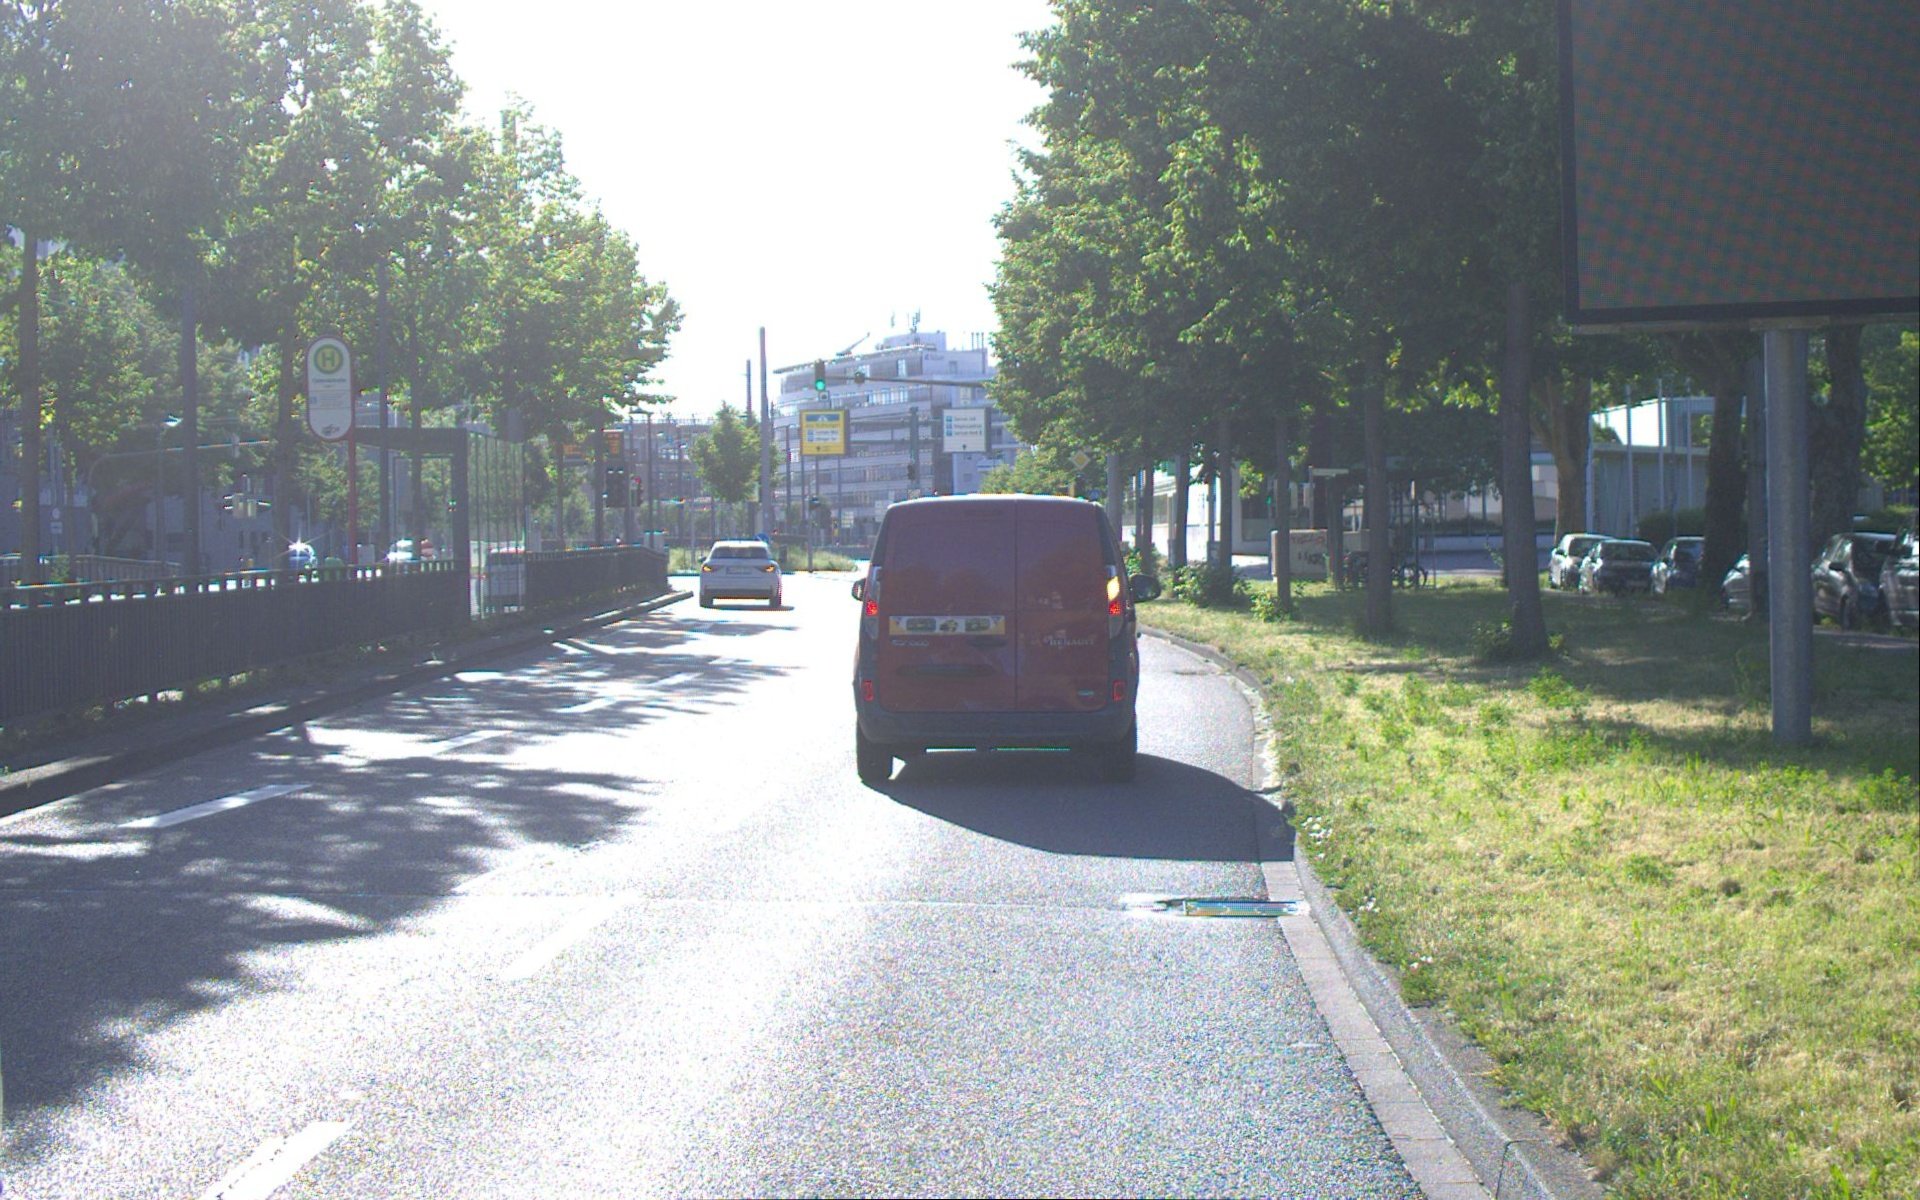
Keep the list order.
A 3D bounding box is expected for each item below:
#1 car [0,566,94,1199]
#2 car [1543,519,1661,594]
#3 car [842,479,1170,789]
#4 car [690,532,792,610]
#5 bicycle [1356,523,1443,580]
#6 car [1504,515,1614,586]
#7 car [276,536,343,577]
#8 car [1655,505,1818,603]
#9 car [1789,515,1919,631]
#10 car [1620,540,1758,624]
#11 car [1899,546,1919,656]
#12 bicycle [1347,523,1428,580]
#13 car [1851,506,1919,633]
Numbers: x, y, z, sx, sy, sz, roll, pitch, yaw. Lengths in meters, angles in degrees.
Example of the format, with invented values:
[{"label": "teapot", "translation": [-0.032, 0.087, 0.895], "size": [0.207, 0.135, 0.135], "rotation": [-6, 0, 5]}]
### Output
[{"label": "car", "translation": [-2.846, 0.705, 4.686], "size": [1.953, 1.475, 5.085], "rotation": [1, 1, 1]}, {"label": "car", "translation": [15.083, -1.023, 80.891], "size": [1.871, 1.678, 4.000], "rotation": [1, 1, -2]}, {"label": "car", "translation": [0.211, 0.187, 22.667], "size": [1.808, 1.831, 4.001], "rotation": [1, 1, -4]}, {"label": "car", "translation": [-4.751, -0.636, 75.081], "size": [1.993, 1.612, 4.000], "rotation": [1, 1, -1]}, {"label": "bicycle", "translation": [9.926, -1.095, 77.684], "size": [1.918, 1.264, 0.479], "rotation": [0, 1, 1]}, {"label": "car", "translation": [14.856, -1.230, 85.478], "size": [1.871, 1.678, 4.000], "rotation": [1, 1, -2]}, {"label": "car", "translation": [-28.869, -1.940, 152.745], "size": [1.994, 1.758, 4.000], "rotation": [1, 1, 3]}, {"label": "car", "translation": [13.948, -0.821, 61.949], "size": [1.871, 1.678, 4.000], "rotation": [-1, 1, -2]}, {"label": "car", "translation": [13.995, -0.410, 52.449], "size": [1.871, 1.678, 4.000], "rotation": [1, 1, 3]}, {"label": "car", "translation": [15.186, -0.388, 71.797], "size": [1.871, 1.678, 4.000], "rotation": [1, 1, -2]}, {"label": "car", "translation": [12.841, 0.045, 41.407], "size": [1.871, 1.363, 4.000], "rotation": [1, 1, -1]}, {"label": "bicycle", "translation": [9.750, -1.112, 78.463], "size": [1.778, 1.264, 0.479], "rotation": [1, 0, 1]}, {"label": "car", "translation": [13.558, -0.399, 46.505], "size": [1.871, 1.678, 4.000], "rotation": [1, 1, -1]}]
